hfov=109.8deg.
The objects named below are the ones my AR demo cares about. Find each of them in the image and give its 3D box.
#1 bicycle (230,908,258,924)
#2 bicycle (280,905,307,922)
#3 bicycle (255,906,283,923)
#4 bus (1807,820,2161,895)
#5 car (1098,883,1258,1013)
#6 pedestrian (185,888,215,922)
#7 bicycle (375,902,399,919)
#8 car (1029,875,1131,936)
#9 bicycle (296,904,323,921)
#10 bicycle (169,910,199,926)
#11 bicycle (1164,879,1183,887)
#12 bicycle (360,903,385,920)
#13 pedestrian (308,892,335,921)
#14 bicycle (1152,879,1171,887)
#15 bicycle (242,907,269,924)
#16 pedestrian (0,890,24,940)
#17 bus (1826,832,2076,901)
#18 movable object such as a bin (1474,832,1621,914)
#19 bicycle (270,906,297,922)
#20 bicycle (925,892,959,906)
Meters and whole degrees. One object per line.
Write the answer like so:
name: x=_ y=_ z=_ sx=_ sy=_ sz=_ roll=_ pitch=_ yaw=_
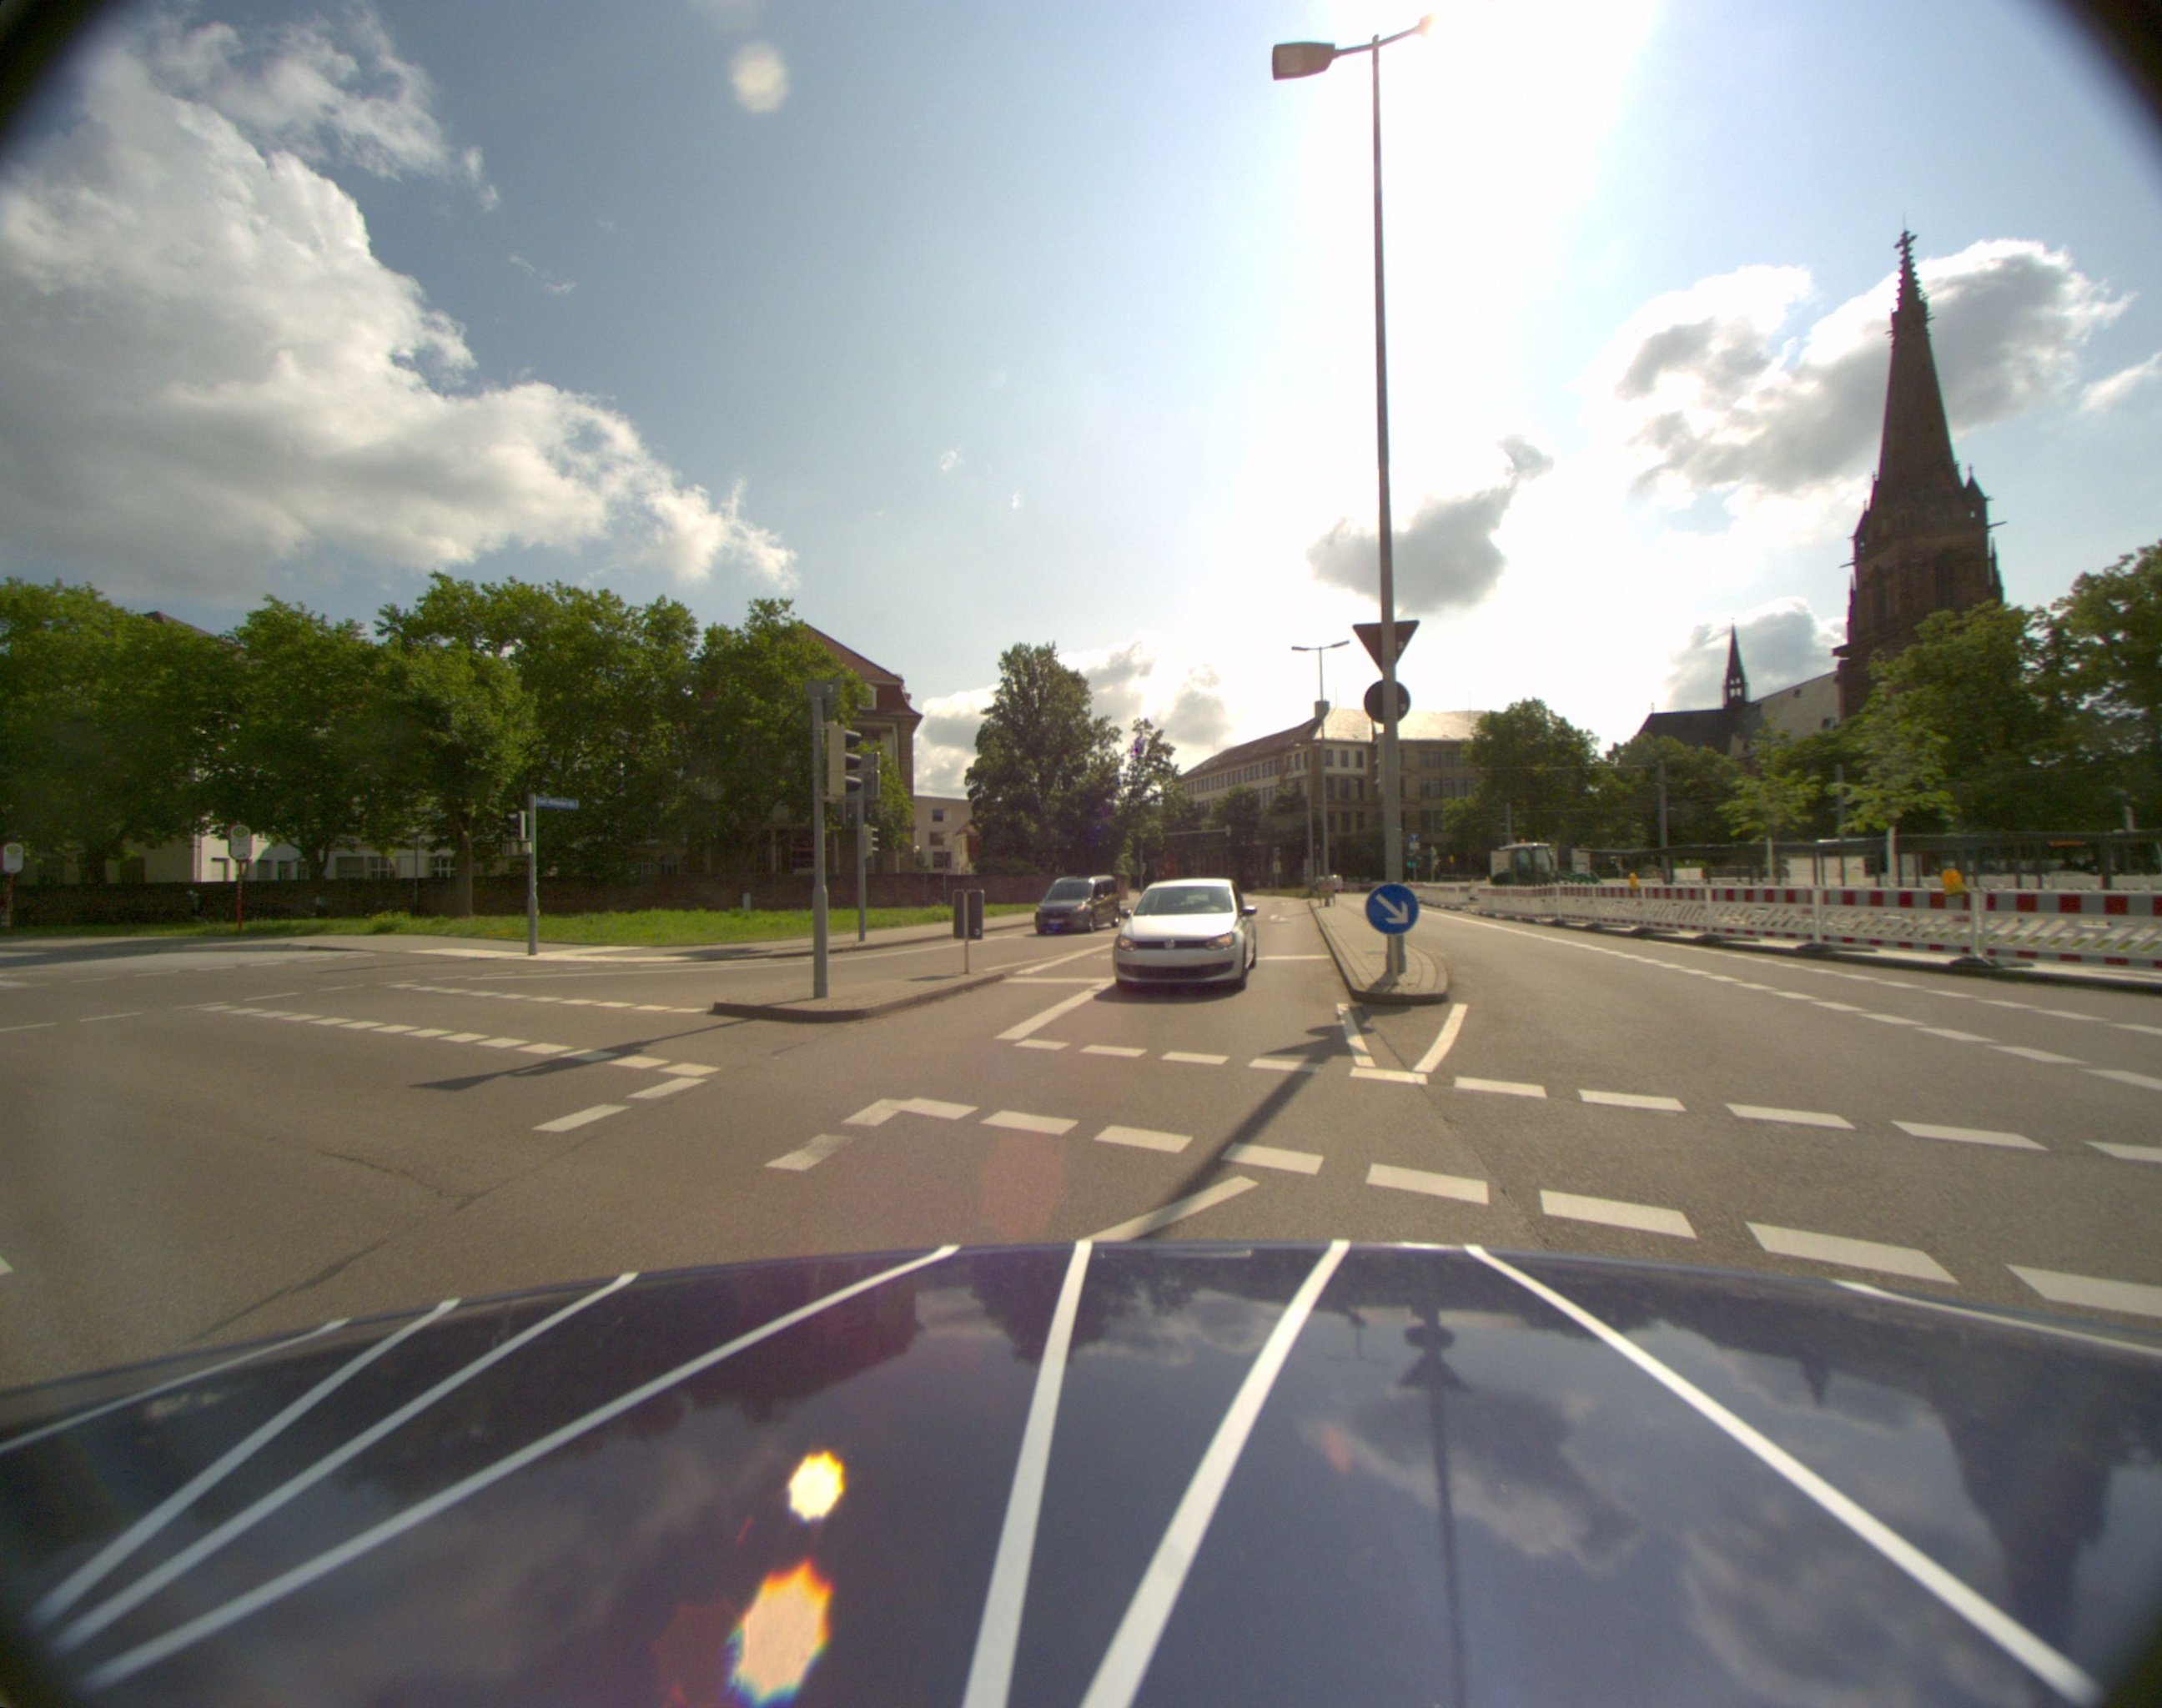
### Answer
bicycle: x=-45.054 y=3.335 z=40.892 sx=0.482 sy=0.843 sz=0.973 roll=-1 pitch=-2 yaw=-6
bicycle: x=-42.618 y=3.209 z=41.137 sx=0.482 sy=0.843 sz=0.973 roll=-1 pitch=-2 yaw=-6
bicycle: x=-43.858 y=3.275 z=41.051 sx=0.482 sy=0.843 sz=0.973 roll=-1 pitch=-2 yaw=-6
bus: x=45.490 y=0.297 z=38.800 sx=2.996 sy=3.242 sz=12.059 roll=-1 pitch=-1 yaw=-19
car: x=1.572 y=1.200 z=10.892 sx=1.653 sy=1.433 sz=4.011 roll=-4 pitch=-2 yaw=15
pedestrian: x=-45.137 y=2.610 z=38.945 sx=0.742 sy=1.712 sz=0.664 roll=-1 pitch=-1 yaw=-3
bicycle: x=-38.024 y=3.086 z=41.645 sx=0.482 sy=0.843 sz=0.973 roll=-1 pitch=-2 yaw=-6
car: x=0.093 y=1.626 z=24.957 sx=1.851 sy=1.774 sz=4.679 roll=-3 pitch=-2 yaw=19
bicycle: x=-41.889 y=3.175 z=41.258 sx=0.482 sy=0.843 sz=0.973 roll=-1 pitch=-2 yaw=-6
bicycle: x=-47.961 y=3.417 z=40.627 sx=0.482 sy=0.843 sz=0.973 roll=-1 pitch=-2 yaw=-6
bicycle: x=15.290 y=4.761 z=125.846 sx=2.888 sy=1.200 sz=1.051 roll=-2 pitch=2 yaw=23
bicycle: x=-38.693 y=3.137 z=41.500 sx=0.482 sy=0.843 sz=0.973 roll=-1 pitch=-2 yaw=-6
pedestrian: x=-40.550 y=2.803 z=40.583 sx=0.724 sy=1.524 sz=0.726 roll=-1 pitch=0 yaw=-5
bicycle: x=13.633 y=4.949 z=128.581 sx=2.888 sy=1.200 sz=1.074 roll=-2 pitch=2 yaw=23
bicycle: x=-44.504 y=3.308 z=40.968 sx=0.482 sy=0.843 sz=0.973 roll=-1 pitch=-2 yaw=-6
pedestrian: x=-39.150 y=2.217 z=27.461 sx=0.964 sy=1.769 sz=0.750 roll=-1 pitch=0 yaw=8
bus: x=42.569 y=0.674 z=37.642 sx=2.376 sy=3.039 sz=7.753 roll=0 pitch=-2 yaw=-19
movable object such as a bin: x=18.048 y=0.765 z=29.615 sx=2.003 sy=2.931 sz=4.442 roll=0 pitch=-2 yaw=-27
bicycle: x=-43.184 y=3.241 z=41.135 sx=0.482 sy=0.843 sz=0.973 roll=-1 pitch=-2 yaw=-6
bicycle: x=-9.148 y=2.951 z=50.014 sx=2.064 sy=0.856 sz=0.856 roll=0 pitch=0 yaw=-30
